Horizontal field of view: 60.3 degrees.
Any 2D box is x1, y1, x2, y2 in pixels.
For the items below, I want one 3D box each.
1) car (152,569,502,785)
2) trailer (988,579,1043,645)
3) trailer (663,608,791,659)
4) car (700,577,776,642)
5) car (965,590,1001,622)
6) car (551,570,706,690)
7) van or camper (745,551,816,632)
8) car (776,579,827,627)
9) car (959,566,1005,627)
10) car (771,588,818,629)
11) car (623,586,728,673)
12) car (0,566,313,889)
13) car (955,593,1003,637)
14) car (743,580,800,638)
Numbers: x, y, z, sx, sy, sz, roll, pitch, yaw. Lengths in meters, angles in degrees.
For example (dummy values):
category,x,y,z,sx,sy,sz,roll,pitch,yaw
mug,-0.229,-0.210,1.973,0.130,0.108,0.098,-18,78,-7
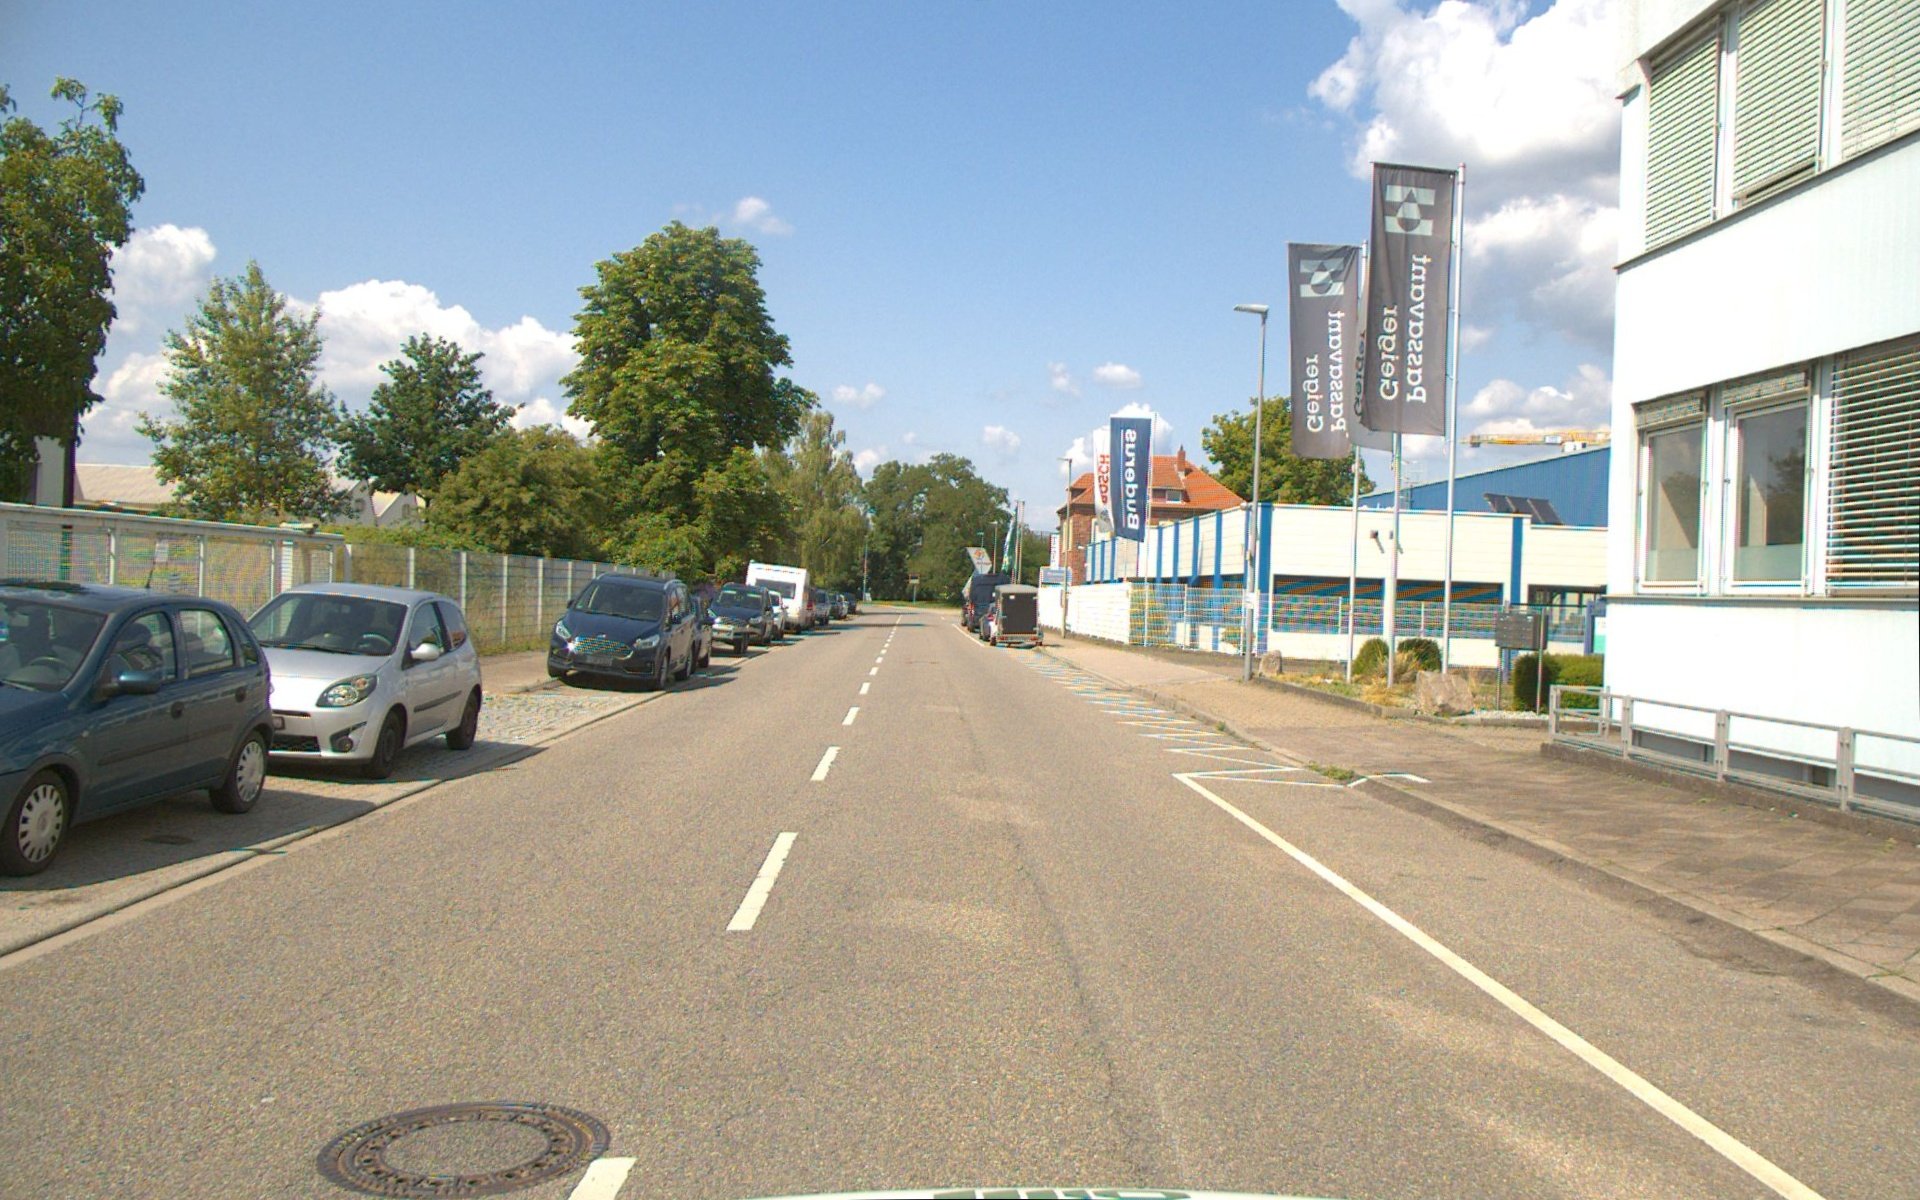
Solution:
category,x,y,z,sx,sy,sz,roll,pitch,yaw
car,-5.274,0.571,14.301,1.583,1.509,3.708,4,0,-2
trailer,1.857,0.391,55.765,1.569,2.073,2.740,3,0,-2
trailer,-5.849,0.805,42.495,2.226,0.898,7.131,7,0,0
car,-6.719,0.269,50.490,1.790,1.824,4.733,2,0,-2
car,1.267,0.311,91.694,1.788,1.693,4.555,2,0,-1
car,-5.438,0.451,27.696,1.765,1.780,4.711,2,0,-2
van or camper,-7.146,-0.341,66.387,2.219,2.851,6.829,6,0,-3
car,-7.524,0.147,78.747,1.861,1.987,4.956,7,0,-2
car,1.014,-0.203,79.334,1.898,2.796,6.152,-1,1,-2
car,-7.246,0.357,72.585,1.593,1.558,4.267,6,0,-2
car,-5.620,0.549,33.060,1.546,1.539,4.198,3,0,-4
car,-5.382,0.598,9.677,1.537,1.423,3.799,7,1,0
car,0.694,0.521,61.961,1.541,1.534,4.131,2,0,-2
car,-6.446,0.276,56.934,1.651,1.721,4.440,6,0,-5
